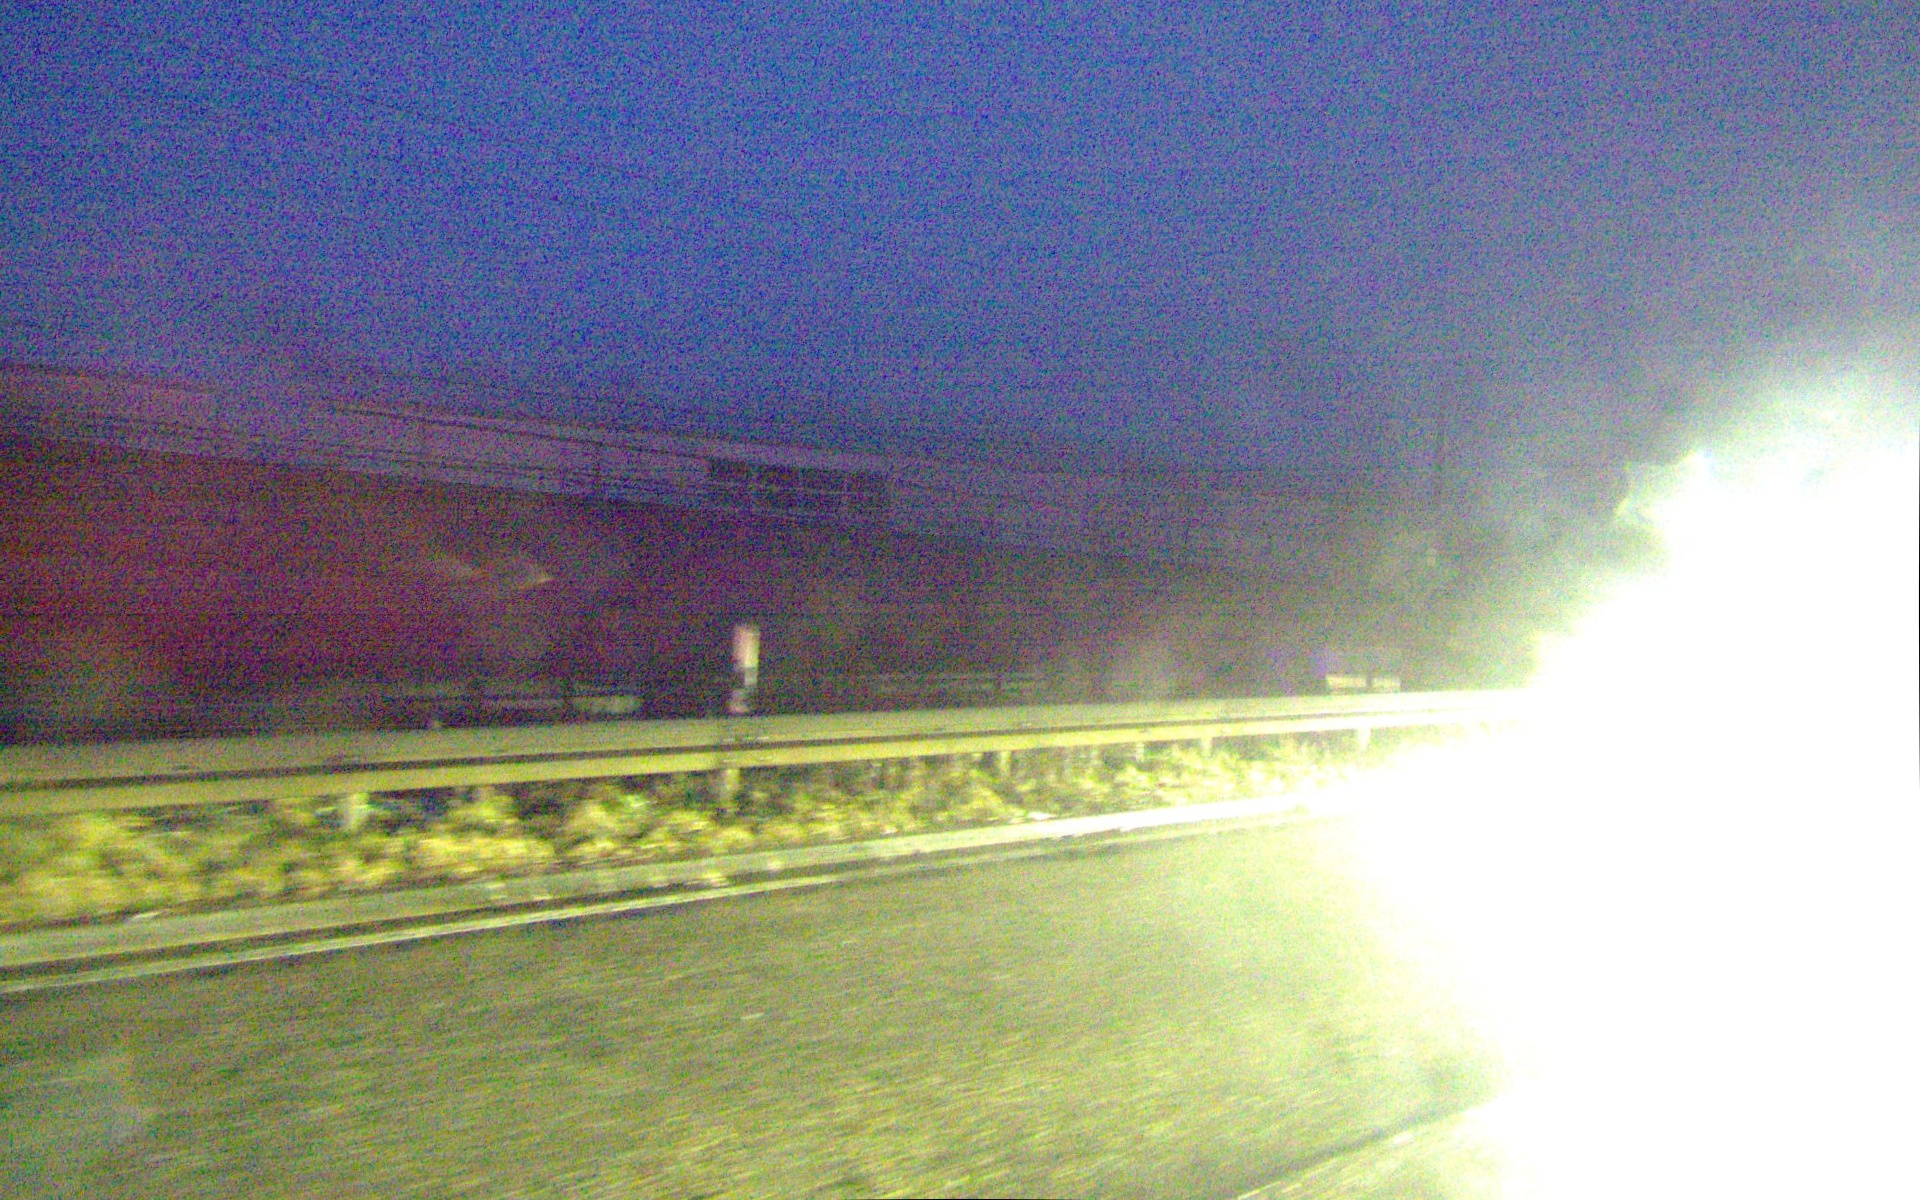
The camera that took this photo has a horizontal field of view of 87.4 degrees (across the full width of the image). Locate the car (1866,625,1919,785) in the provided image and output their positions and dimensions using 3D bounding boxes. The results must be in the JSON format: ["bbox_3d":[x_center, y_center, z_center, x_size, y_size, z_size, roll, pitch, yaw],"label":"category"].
[{"bbox_3d":[11.129,1.067,10.051,4.226,1.490,1.894,2,1,-31],"label":"car"}]
